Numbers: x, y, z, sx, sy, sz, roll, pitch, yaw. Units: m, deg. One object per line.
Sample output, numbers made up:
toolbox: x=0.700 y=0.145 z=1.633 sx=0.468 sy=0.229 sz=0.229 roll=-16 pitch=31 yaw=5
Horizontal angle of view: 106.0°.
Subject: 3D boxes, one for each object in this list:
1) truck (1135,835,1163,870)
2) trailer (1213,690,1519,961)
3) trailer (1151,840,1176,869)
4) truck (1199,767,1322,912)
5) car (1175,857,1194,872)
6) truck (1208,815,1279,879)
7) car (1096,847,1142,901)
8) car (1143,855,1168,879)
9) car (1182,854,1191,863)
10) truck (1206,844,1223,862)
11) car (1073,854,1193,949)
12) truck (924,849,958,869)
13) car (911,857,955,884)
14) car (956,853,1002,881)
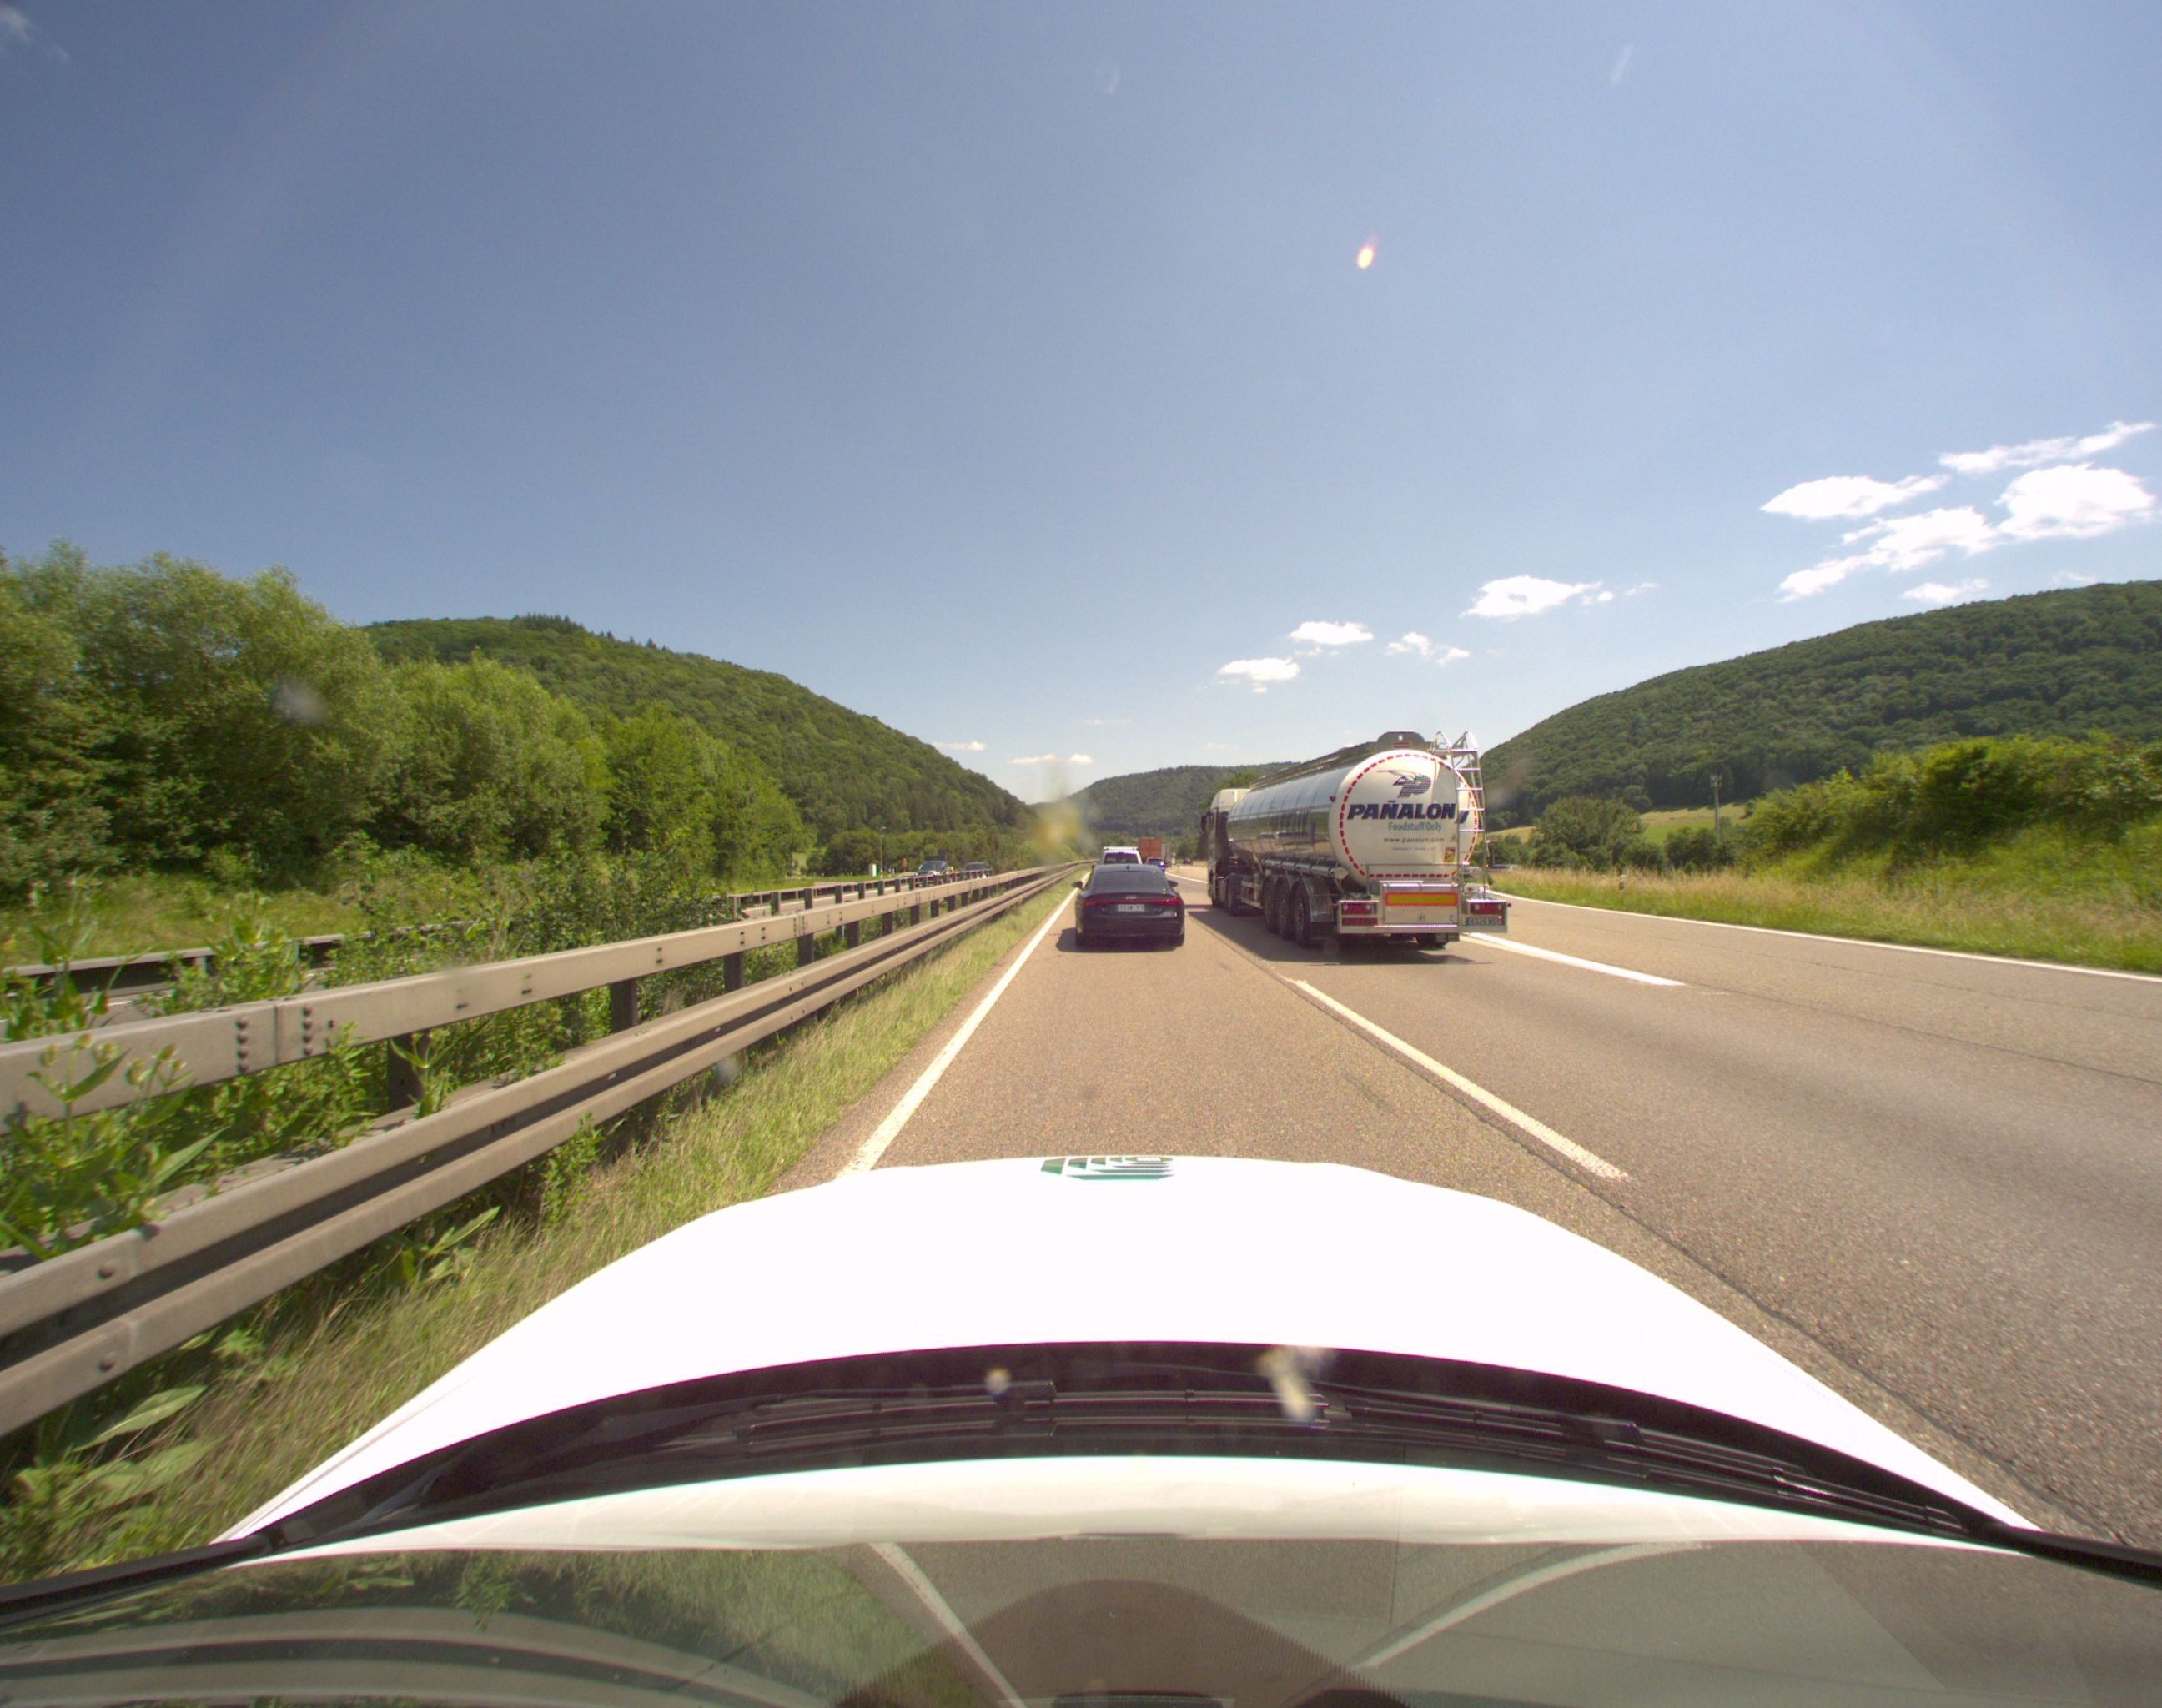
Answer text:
truck: x=8.249 y=-0.190 z=100.775 sx=2.806 sy=4.003 sz=14.964 roll=-1 pitch=0 yaw=3
trailer: x=4.939 y=-0.389 z=17.317 sx=2.529 sy=3.735 sz=11.893 roll=-1 pitch=0 yaw=1
trailer: x=13.083 y=0.034 z=130.262 sx=3.004 sy=4.382 sz=10.988 roll=-1 pitch=0 yaw=1
truck: x=5.080 y=-0.384 z=23.989 sx=2.502 sy=3.758 sz=5.246 roll=-1 pitch=0 yaw=1
car: x=11.329 y=1.132 z=89.274 sx=1.740 sy=1.530 sz=4.004 roll=-1 pitch=0 yaw=3
truck: x=11.494 y=-0.444 z=59.346 sx=2.806 sy=4.003 sz=14.964 roll=-1 pitch=0 yaw=3
car: x=1.366 y=0.680 z=29.985 sx=1.570 sy=1.833 sz=4.001 roll=-1 pitch=0 yaw=2
car: x=6.497 y=1.144 z=71.549 sx=1.985 sy=2.002 sz=4.003 roll=-2 pitch=0 yaw=3
car: x=25.161 y=1.046 z=194.615 sx=1.982 sy=2.014 sz=4.010 roll=-2 pitch=0 yaw=9
truck: x=35.568 y=-0.261 z=216.072 sx=3.768 sy=4.414 sz=15.003 roll=-1 pitch=0 yaw=12
car: x=0.814 y=0.759 z=15.109 sx=1.844 sy=1.488 sz=4.080 roll=-1 pitch=0 yaw=-2
truck: x=-20.486 y=0.729 z=119.599 sx=3.570 sy=2.695 sz=8.444 roll=-2 pitch=0 yaw=-1
car: x=-9.751 y=1.070 z=54.092 sx=1.915 sy=1.621 sz=4.563 roll=-1 pitch=0 yaw=2
car: x=-6.005 y=0.743 z=48.588 sx=1.986 sy=1.519 sz=4.679 roll=-1 pitch=0 yaw=2
